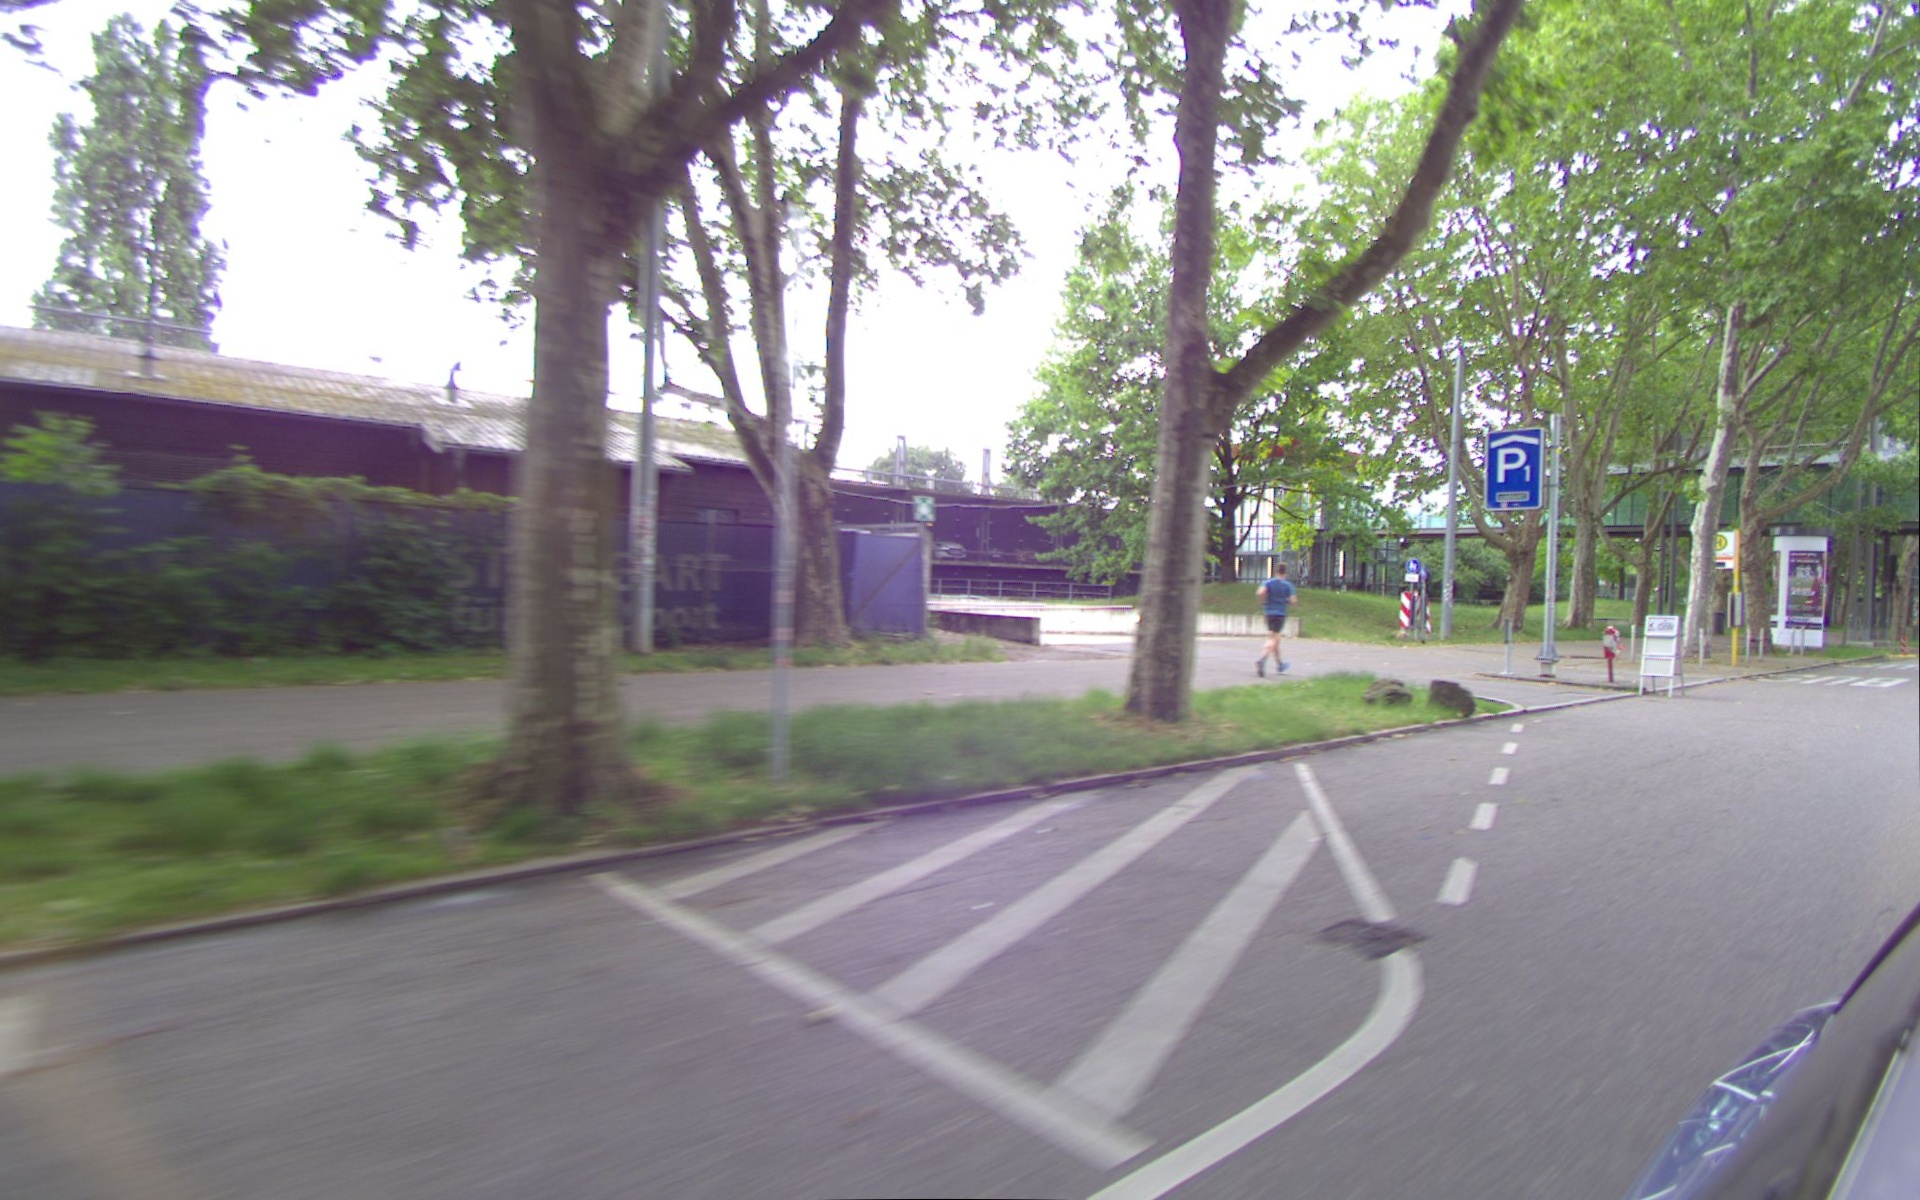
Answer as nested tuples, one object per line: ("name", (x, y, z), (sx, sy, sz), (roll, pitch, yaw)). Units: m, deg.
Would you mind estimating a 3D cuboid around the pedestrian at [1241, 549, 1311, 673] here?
("pedestrian", (5.356, 0.177, 17.144), (0.864, 2.039, 0.712), (1, 0, -31))
